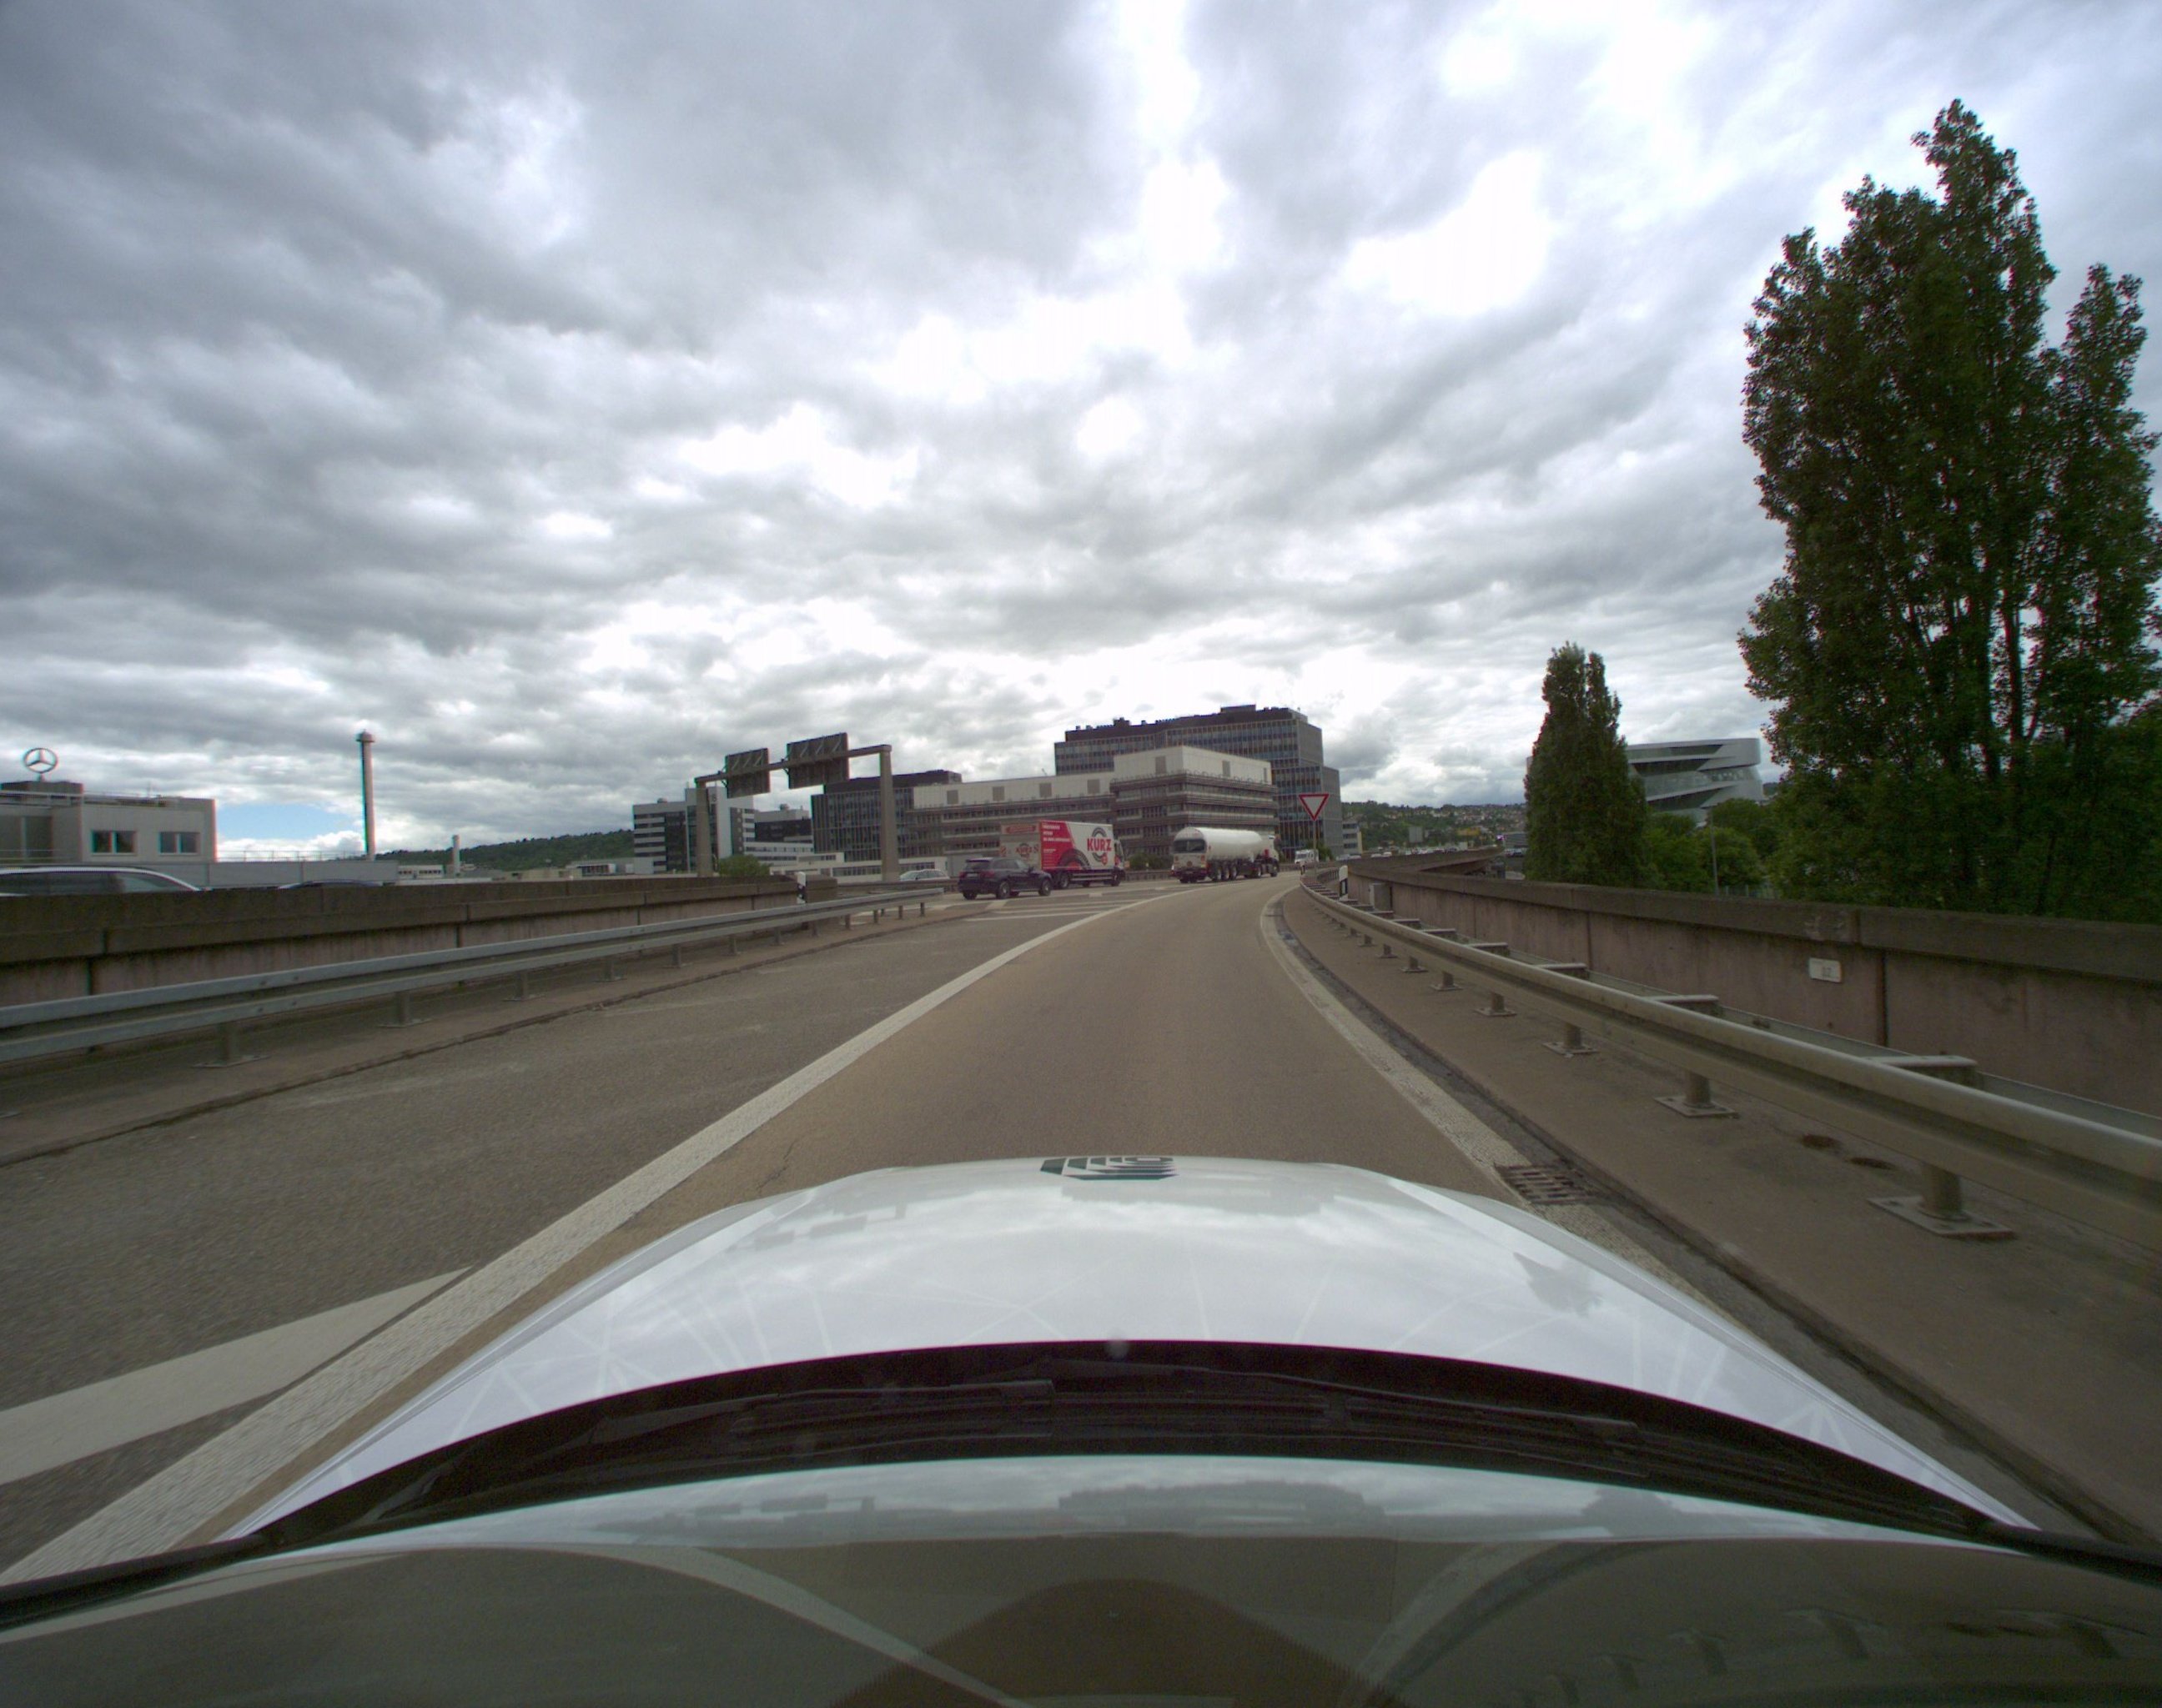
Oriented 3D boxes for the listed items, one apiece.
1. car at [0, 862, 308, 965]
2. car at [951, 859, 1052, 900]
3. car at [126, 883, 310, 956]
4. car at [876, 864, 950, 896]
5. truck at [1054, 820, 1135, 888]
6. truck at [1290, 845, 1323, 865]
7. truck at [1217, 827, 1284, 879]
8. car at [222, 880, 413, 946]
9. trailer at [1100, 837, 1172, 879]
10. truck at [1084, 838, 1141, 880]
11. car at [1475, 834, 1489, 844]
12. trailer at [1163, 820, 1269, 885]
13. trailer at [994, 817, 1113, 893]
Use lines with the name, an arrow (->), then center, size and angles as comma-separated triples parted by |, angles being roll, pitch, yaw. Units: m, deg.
car -> -18.111, 1.014, 15.271 | 1.974, 1.668, 4.923 | 0, 0, 34
car -> -3.105, 0.962, 32.593 | 1.829, 1.505, 4.292 | 0, 0, 31
car -> -29.079, 2.119, 27.546 | 1.975, 2.013, 4.025 | 5, 2, 36
car -> -8.949, 1.386, 43.767 | 1.629, 1.518, 3.863 | -3, -1, 32
truck -> 0.836, -0.011, 47.483 | 2.665, 3.690, 4.467 | -3, -1, 31
truck -> 33.739, 0.116, 121.863 | 2.466, 2.626, 7.395 | -3, -1, 33
truck -> 12.298, -0.099, 58.620 | 2.742, 3.430, 6.003 | -3, -1, 31
car -> -22.055, 1.662, 23.664 | 1.629, 1.591, 3.709 | -3, -1, 32
trailer -> 5.278, 0.314, 75.942 | 2.708, 3.636, 9.415 | -3, -1, 30
truck -> 2.816, 0.417, 71.613 | 2.715, 3.480, 5.138 | -3, -1, 30
car -> 70.984, -2.621, 144.180 | 1.678, 1.551, 3.665 | -3, -2, 33
trailer -> 9.107, -0.153, 53.313 | 2.765, 3.737, 11.225 | -3, -1, 31
trailer -> -1.302, 0.051, 43.867 | 2.664, 3.690, 7.359 | -3, -1, 31
